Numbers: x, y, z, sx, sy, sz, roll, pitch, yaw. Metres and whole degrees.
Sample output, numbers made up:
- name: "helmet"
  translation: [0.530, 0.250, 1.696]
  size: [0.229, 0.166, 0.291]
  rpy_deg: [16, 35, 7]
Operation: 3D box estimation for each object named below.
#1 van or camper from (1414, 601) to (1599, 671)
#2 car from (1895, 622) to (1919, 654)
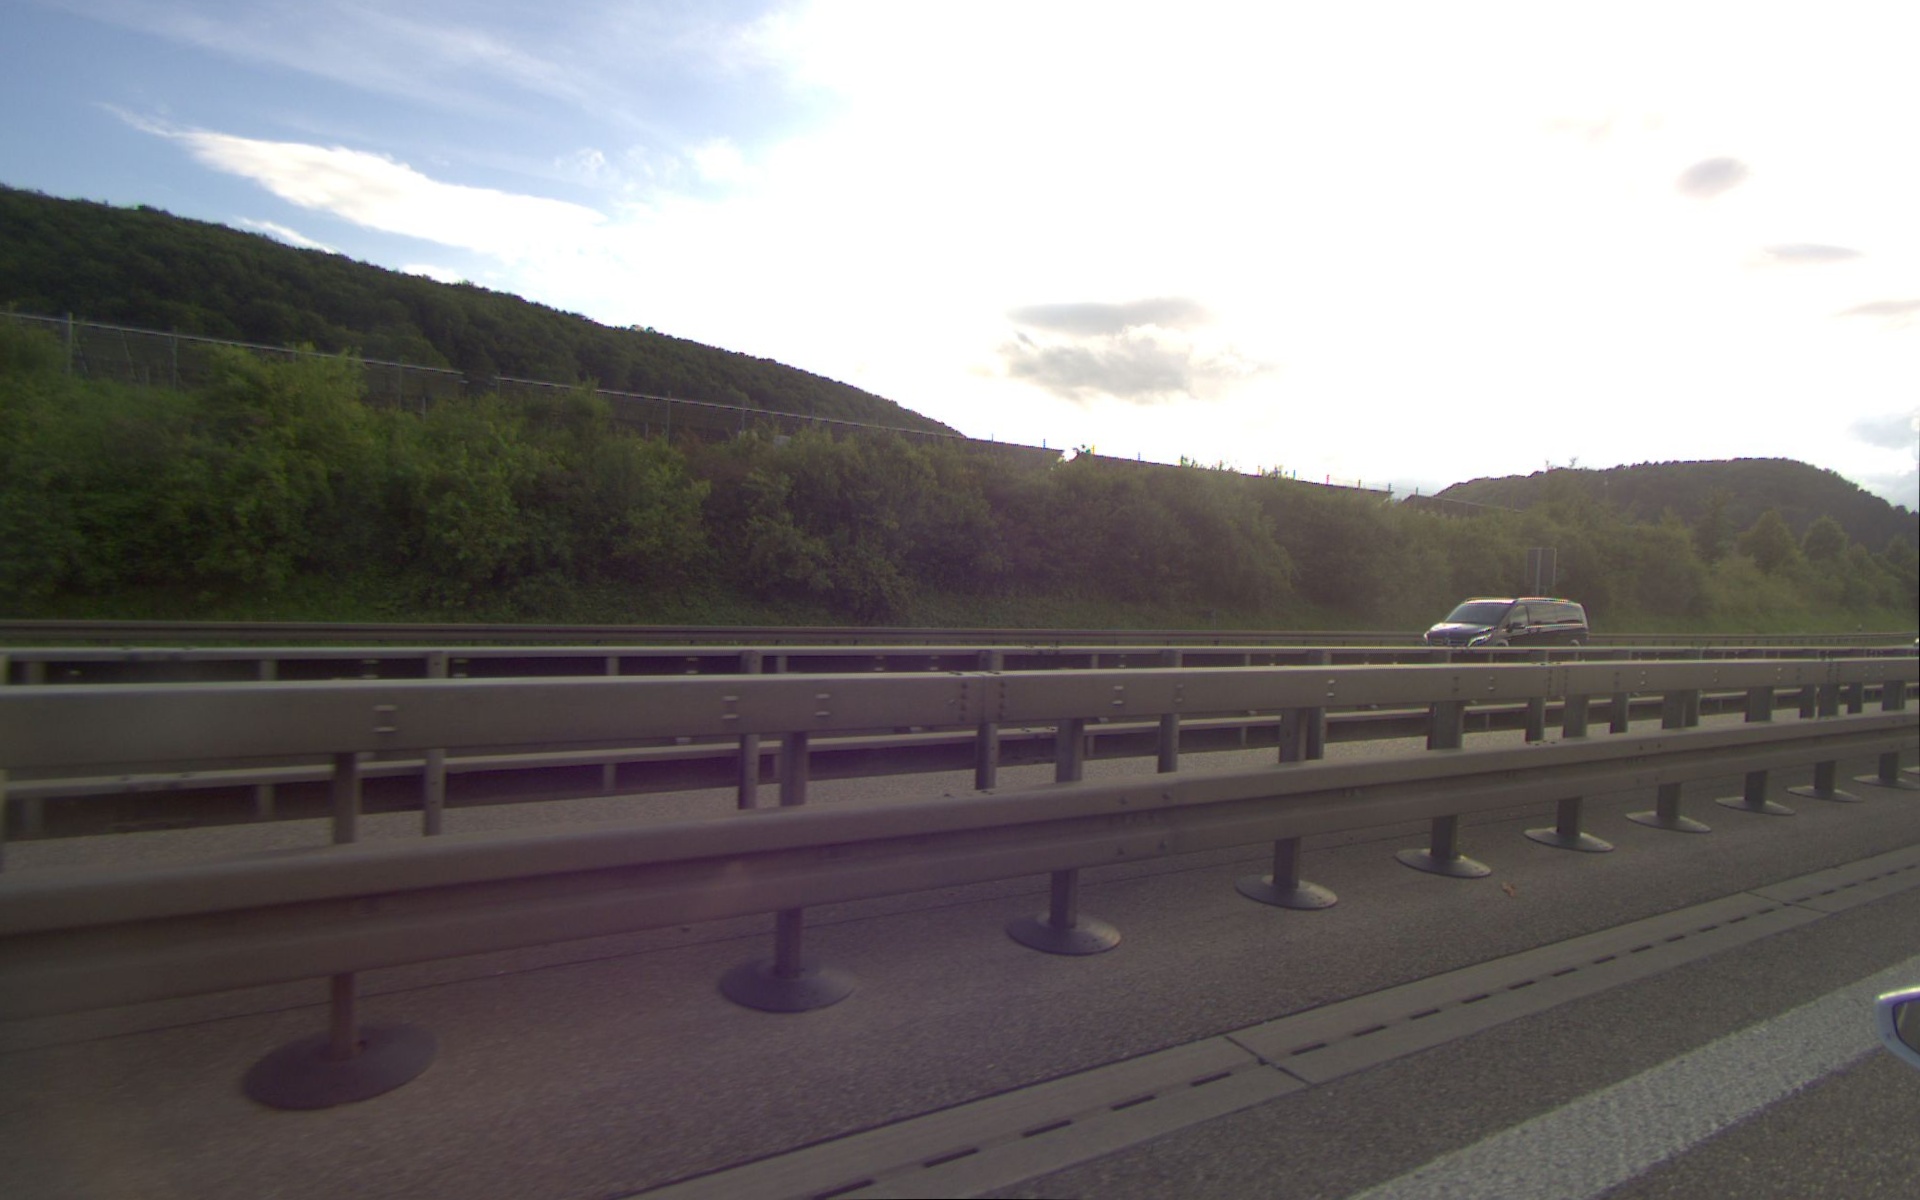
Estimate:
- name: "van or camper"
  translation: [14.532, 0.922, 26.601]
  size: [5.395, 1.682, 1.982]
  rpy_deg: [1, -1, -33]
- name: "car"
  translation: [44.399, 1.727, 45.526]
  size: [4.308, 1.371, 1.982]
  rpy_deg: [1, -1, -33]
